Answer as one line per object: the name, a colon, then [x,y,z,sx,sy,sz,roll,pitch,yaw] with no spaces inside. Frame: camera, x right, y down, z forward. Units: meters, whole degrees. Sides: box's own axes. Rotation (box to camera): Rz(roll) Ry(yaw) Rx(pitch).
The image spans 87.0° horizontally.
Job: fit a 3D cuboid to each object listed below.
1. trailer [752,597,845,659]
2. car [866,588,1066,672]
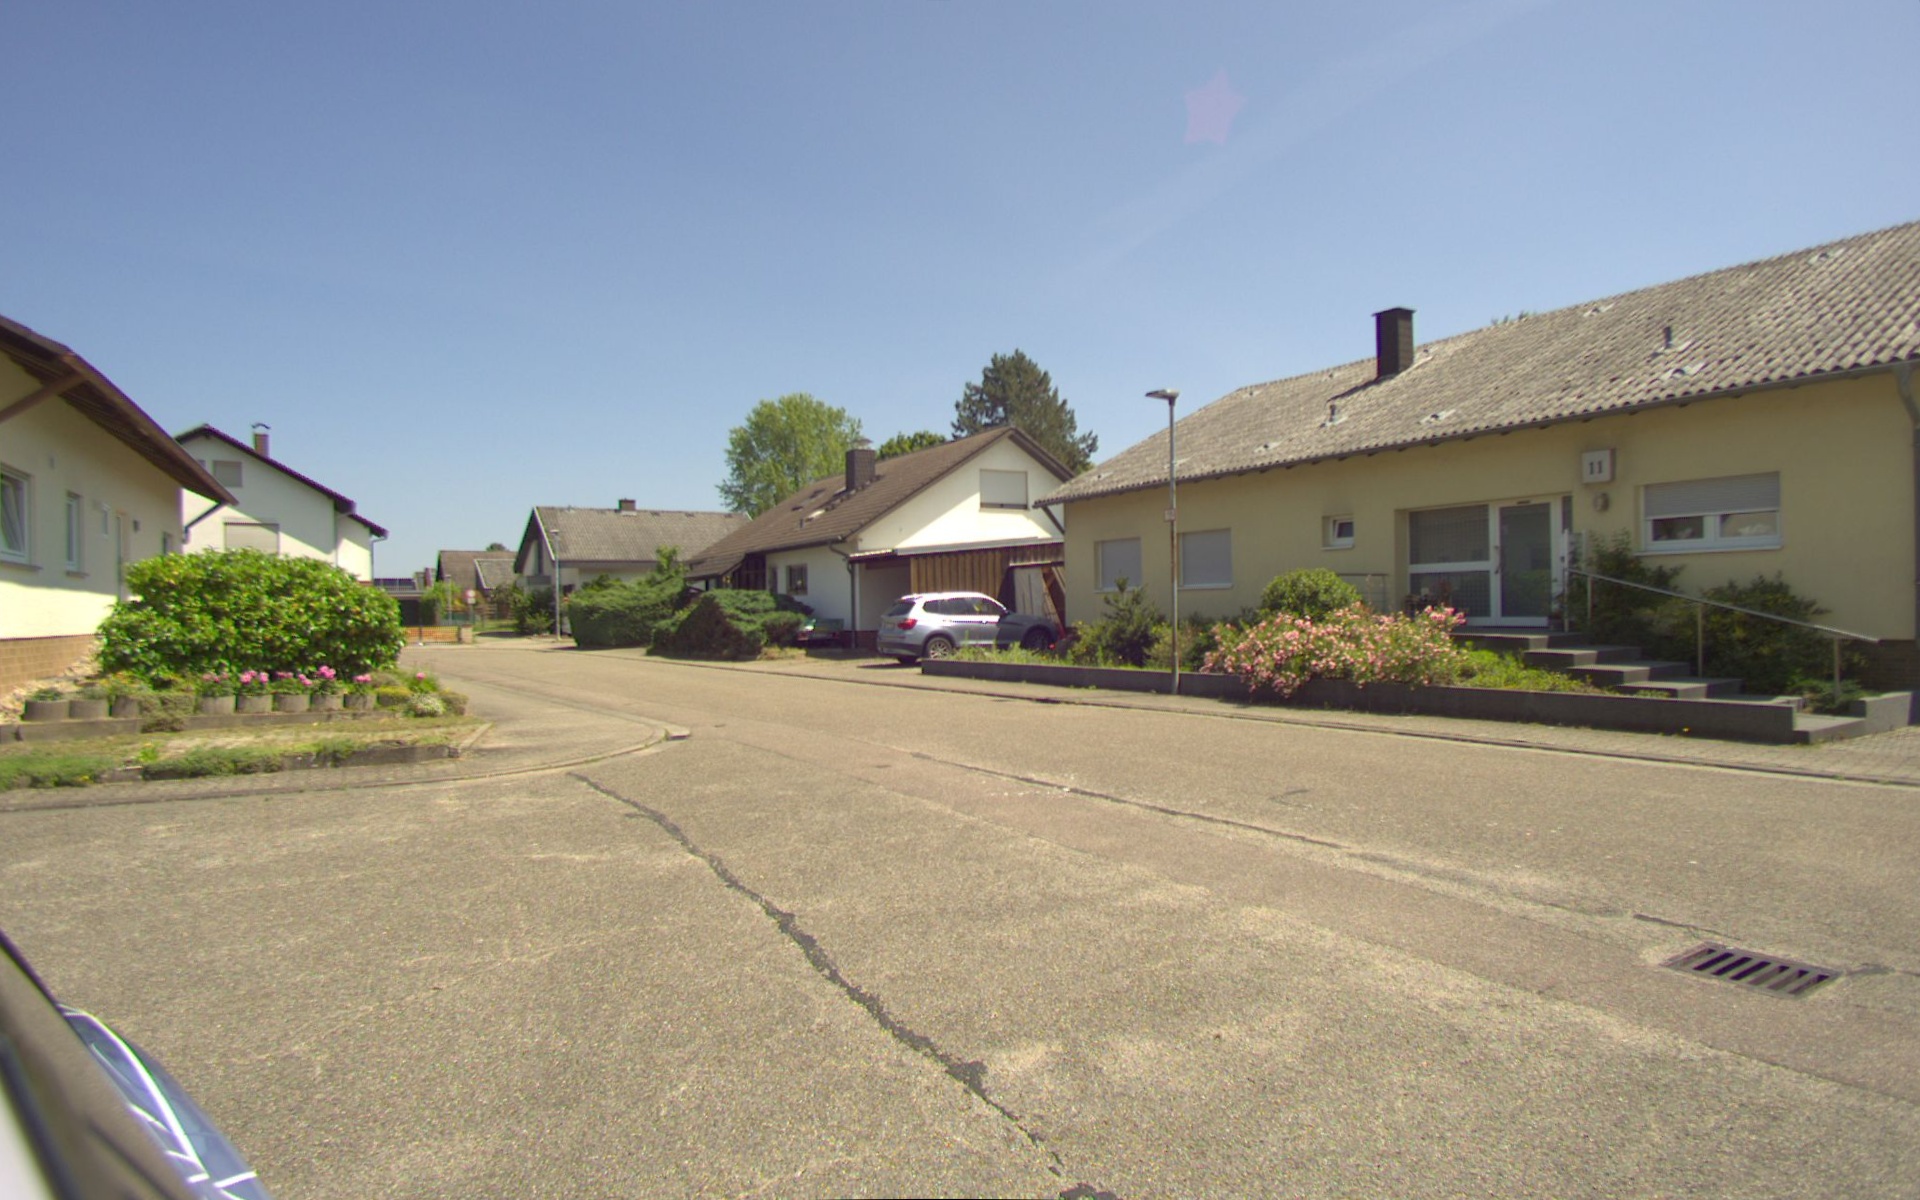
trailer: [-4.908,0.801,30.462,1.565,1.685,3.306,-3,1,-31]
car: [0.183,0.676,24.642,4.563,1.715,1.715,-3,0,-29]
